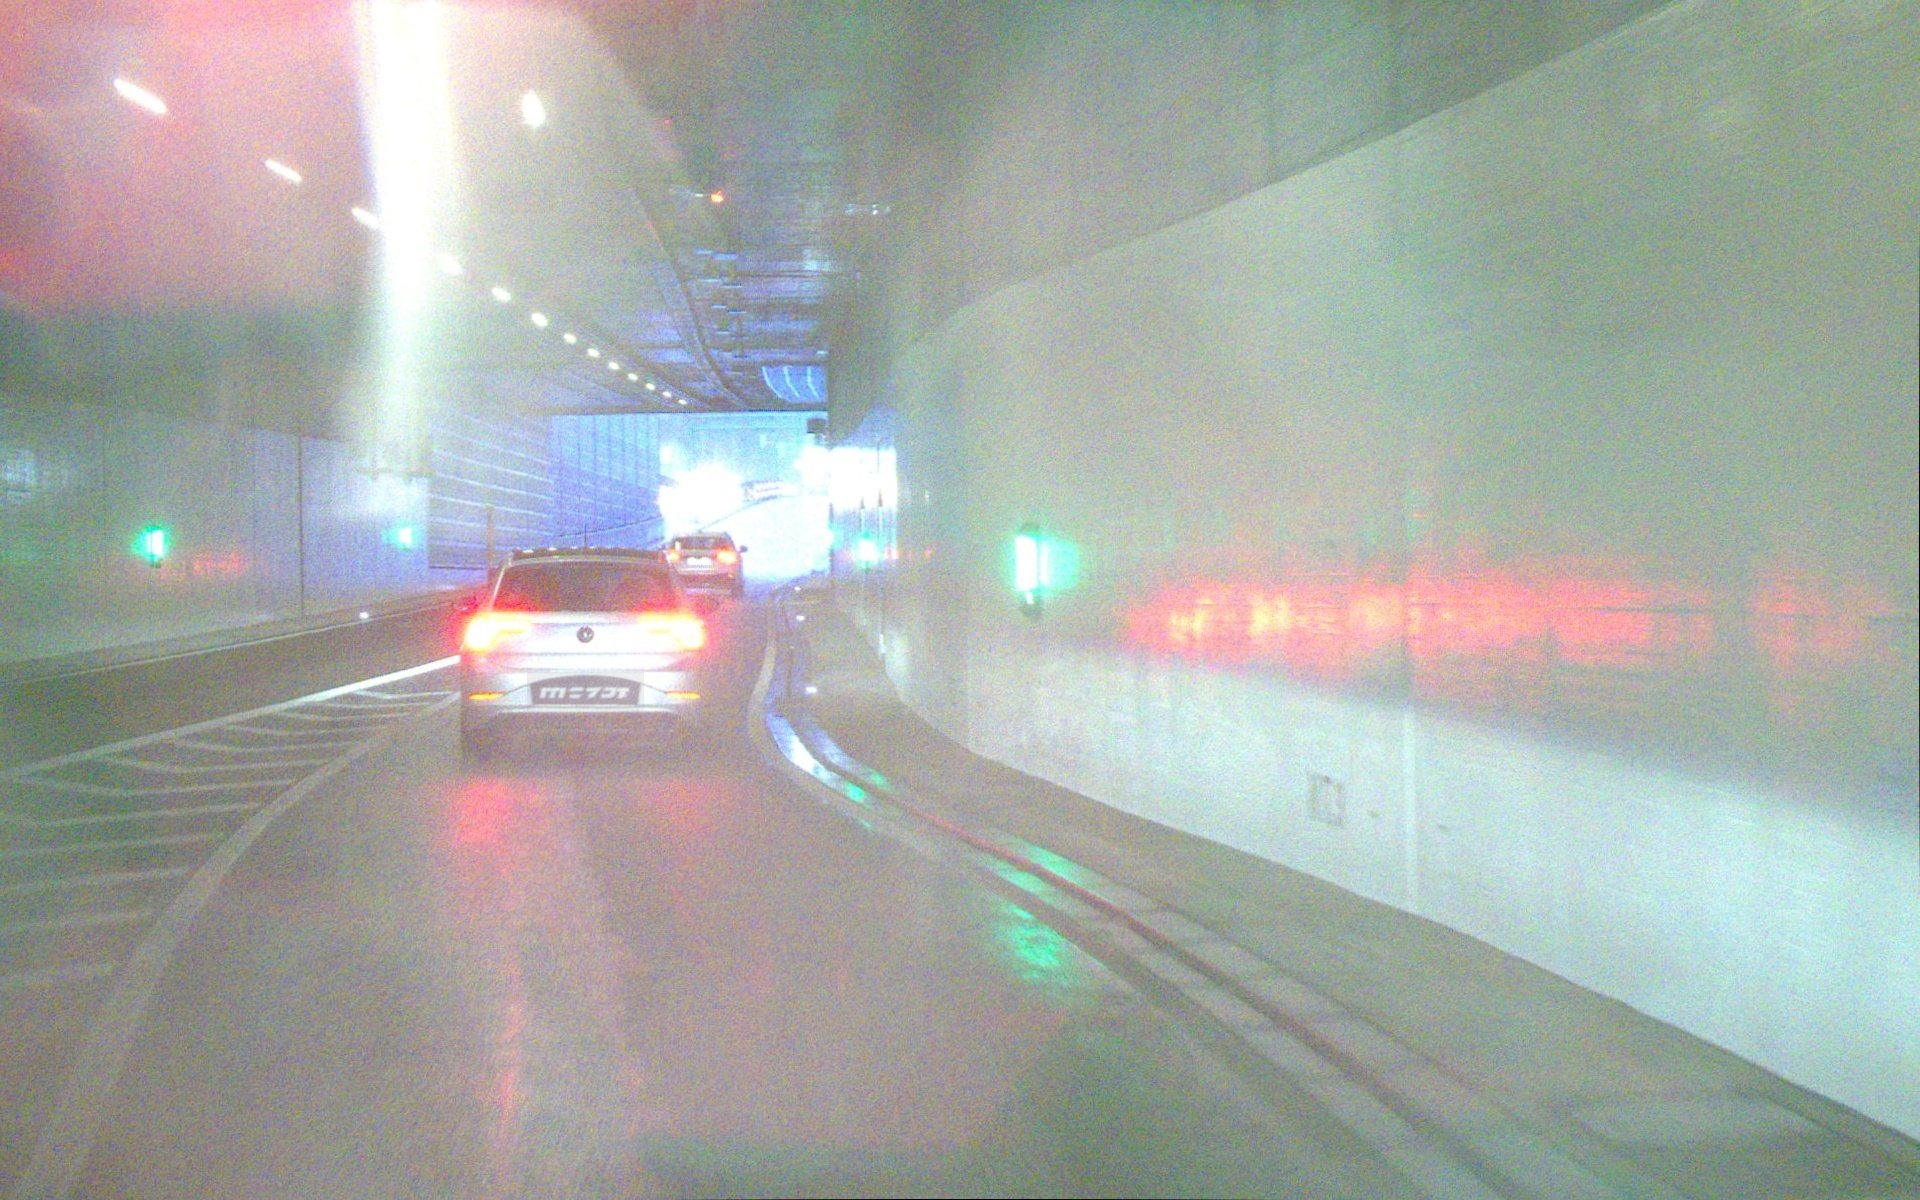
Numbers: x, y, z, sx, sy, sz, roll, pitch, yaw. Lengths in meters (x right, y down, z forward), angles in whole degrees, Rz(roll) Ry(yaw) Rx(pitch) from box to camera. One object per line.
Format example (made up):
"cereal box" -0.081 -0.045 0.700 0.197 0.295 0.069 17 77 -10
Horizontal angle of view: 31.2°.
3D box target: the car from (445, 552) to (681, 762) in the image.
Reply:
"car" -2.896 0.363 24.619 1.531 1.392 3.435 0 0 -9

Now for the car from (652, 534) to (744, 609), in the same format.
"car" -5.860 -0.617 77.225 1.880 1.615 4.000 1 0 -2
